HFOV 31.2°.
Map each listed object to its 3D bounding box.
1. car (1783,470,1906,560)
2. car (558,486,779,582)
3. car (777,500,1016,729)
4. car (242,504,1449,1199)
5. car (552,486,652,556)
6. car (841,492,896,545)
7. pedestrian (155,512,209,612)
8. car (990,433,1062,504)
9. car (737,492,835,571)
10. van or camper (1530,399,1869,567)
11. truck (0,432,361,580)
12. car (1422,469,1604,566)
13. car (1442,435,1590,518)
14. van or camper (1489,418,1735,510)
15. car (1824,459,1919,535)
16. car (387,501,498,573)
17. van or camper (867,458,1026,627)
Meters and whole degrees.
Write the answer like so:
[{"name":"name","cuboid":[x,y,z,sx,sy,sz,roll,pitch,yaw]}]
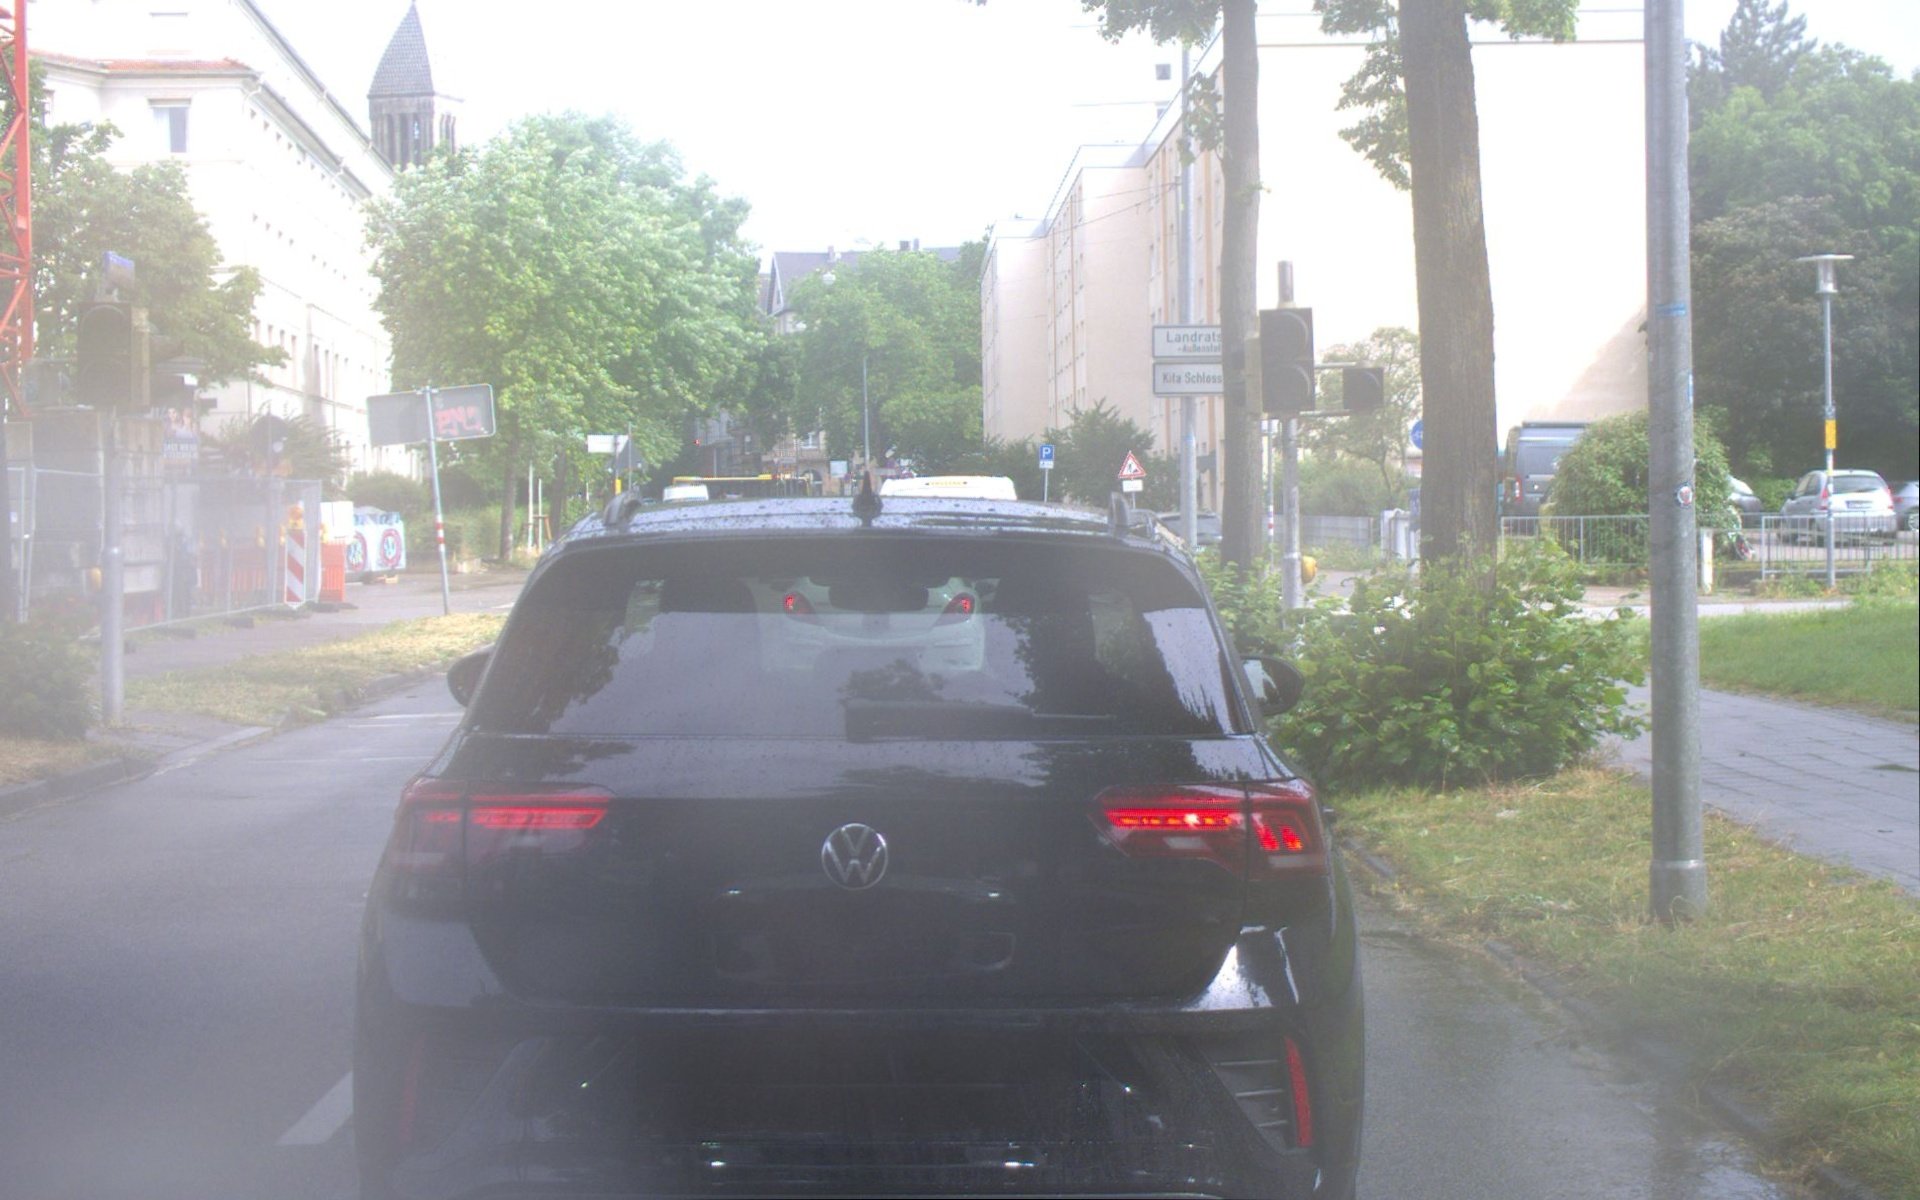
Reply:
[{"name":"car","cuboid":[17.880,-1.734,69.628,1.743,1.678,3.870,-4,1,6]},{"name":"car","cuboid":[-5.814,-1.322,68.562,3.922,1.645,1.760,-4,2,-25]},{"name":"car","cuboid":[-0.468,0.080,28.829,1.680,1.702,3.909,-3,1,3]},{"name":"car","cuboid":[-0.189,0.558,7.414,1.894,1.517,4.000,0,2,0]},{"name":"car","cuboid":[-8.525,-1.910,82.209,1.591,1.507,3.731,-4,2,5]},{"name":"car","cuboid":[-2.815,-2.512,105.585,1.591,1.507,3.732,-4,2,-2]},{"name":"pedestrian","cuboid":[-11.706,-0.581,51.726,0.660,1.480,0.673,-1,2,-25]},{"name":"car","cuboid":[1.925,-3.875,101.908,1.993,2.007,4.000,1,1,-1]},{"name":"car","cuboid":[-4.054,-1.590,79.552,1.788,1.678,4.487,-4,2,-8]},{"name":"van or camper","cuboid":[12.089,-1.913,56.434,5.032,2.587,2.168,-1,1,-1]},{"name":"truck","cuboid":[-15.478,-1.760,63.532,8.217,2.647,2.813,0,2,11]},{"name":"car","cuboid":[10.938,-1.640,68.146,3.408,1.775,1.760,-2,2,6]},{"name":"car","cuboid":[13.498,-2.997,83.572,3.408,1.775,1.759,-3,1,9]},{"name":"van or camper","cuboid":[13.958,-2.923,73.776,4.874,1.919,2.131,0,2,0]},{"name":"car","cuboid":[24.241,-2.722,90.978,1.867,1.850,3.810,-4,1,3]},{"name":"car","cuboid":[-11.995,-1.475,79.880,1.591,1.507,3.731,-4,2,5]},{"name":"van or camper","cuboid":[-0.123,-0.726,41.527,1.819,1.941,4.195,0,2,1]}]
